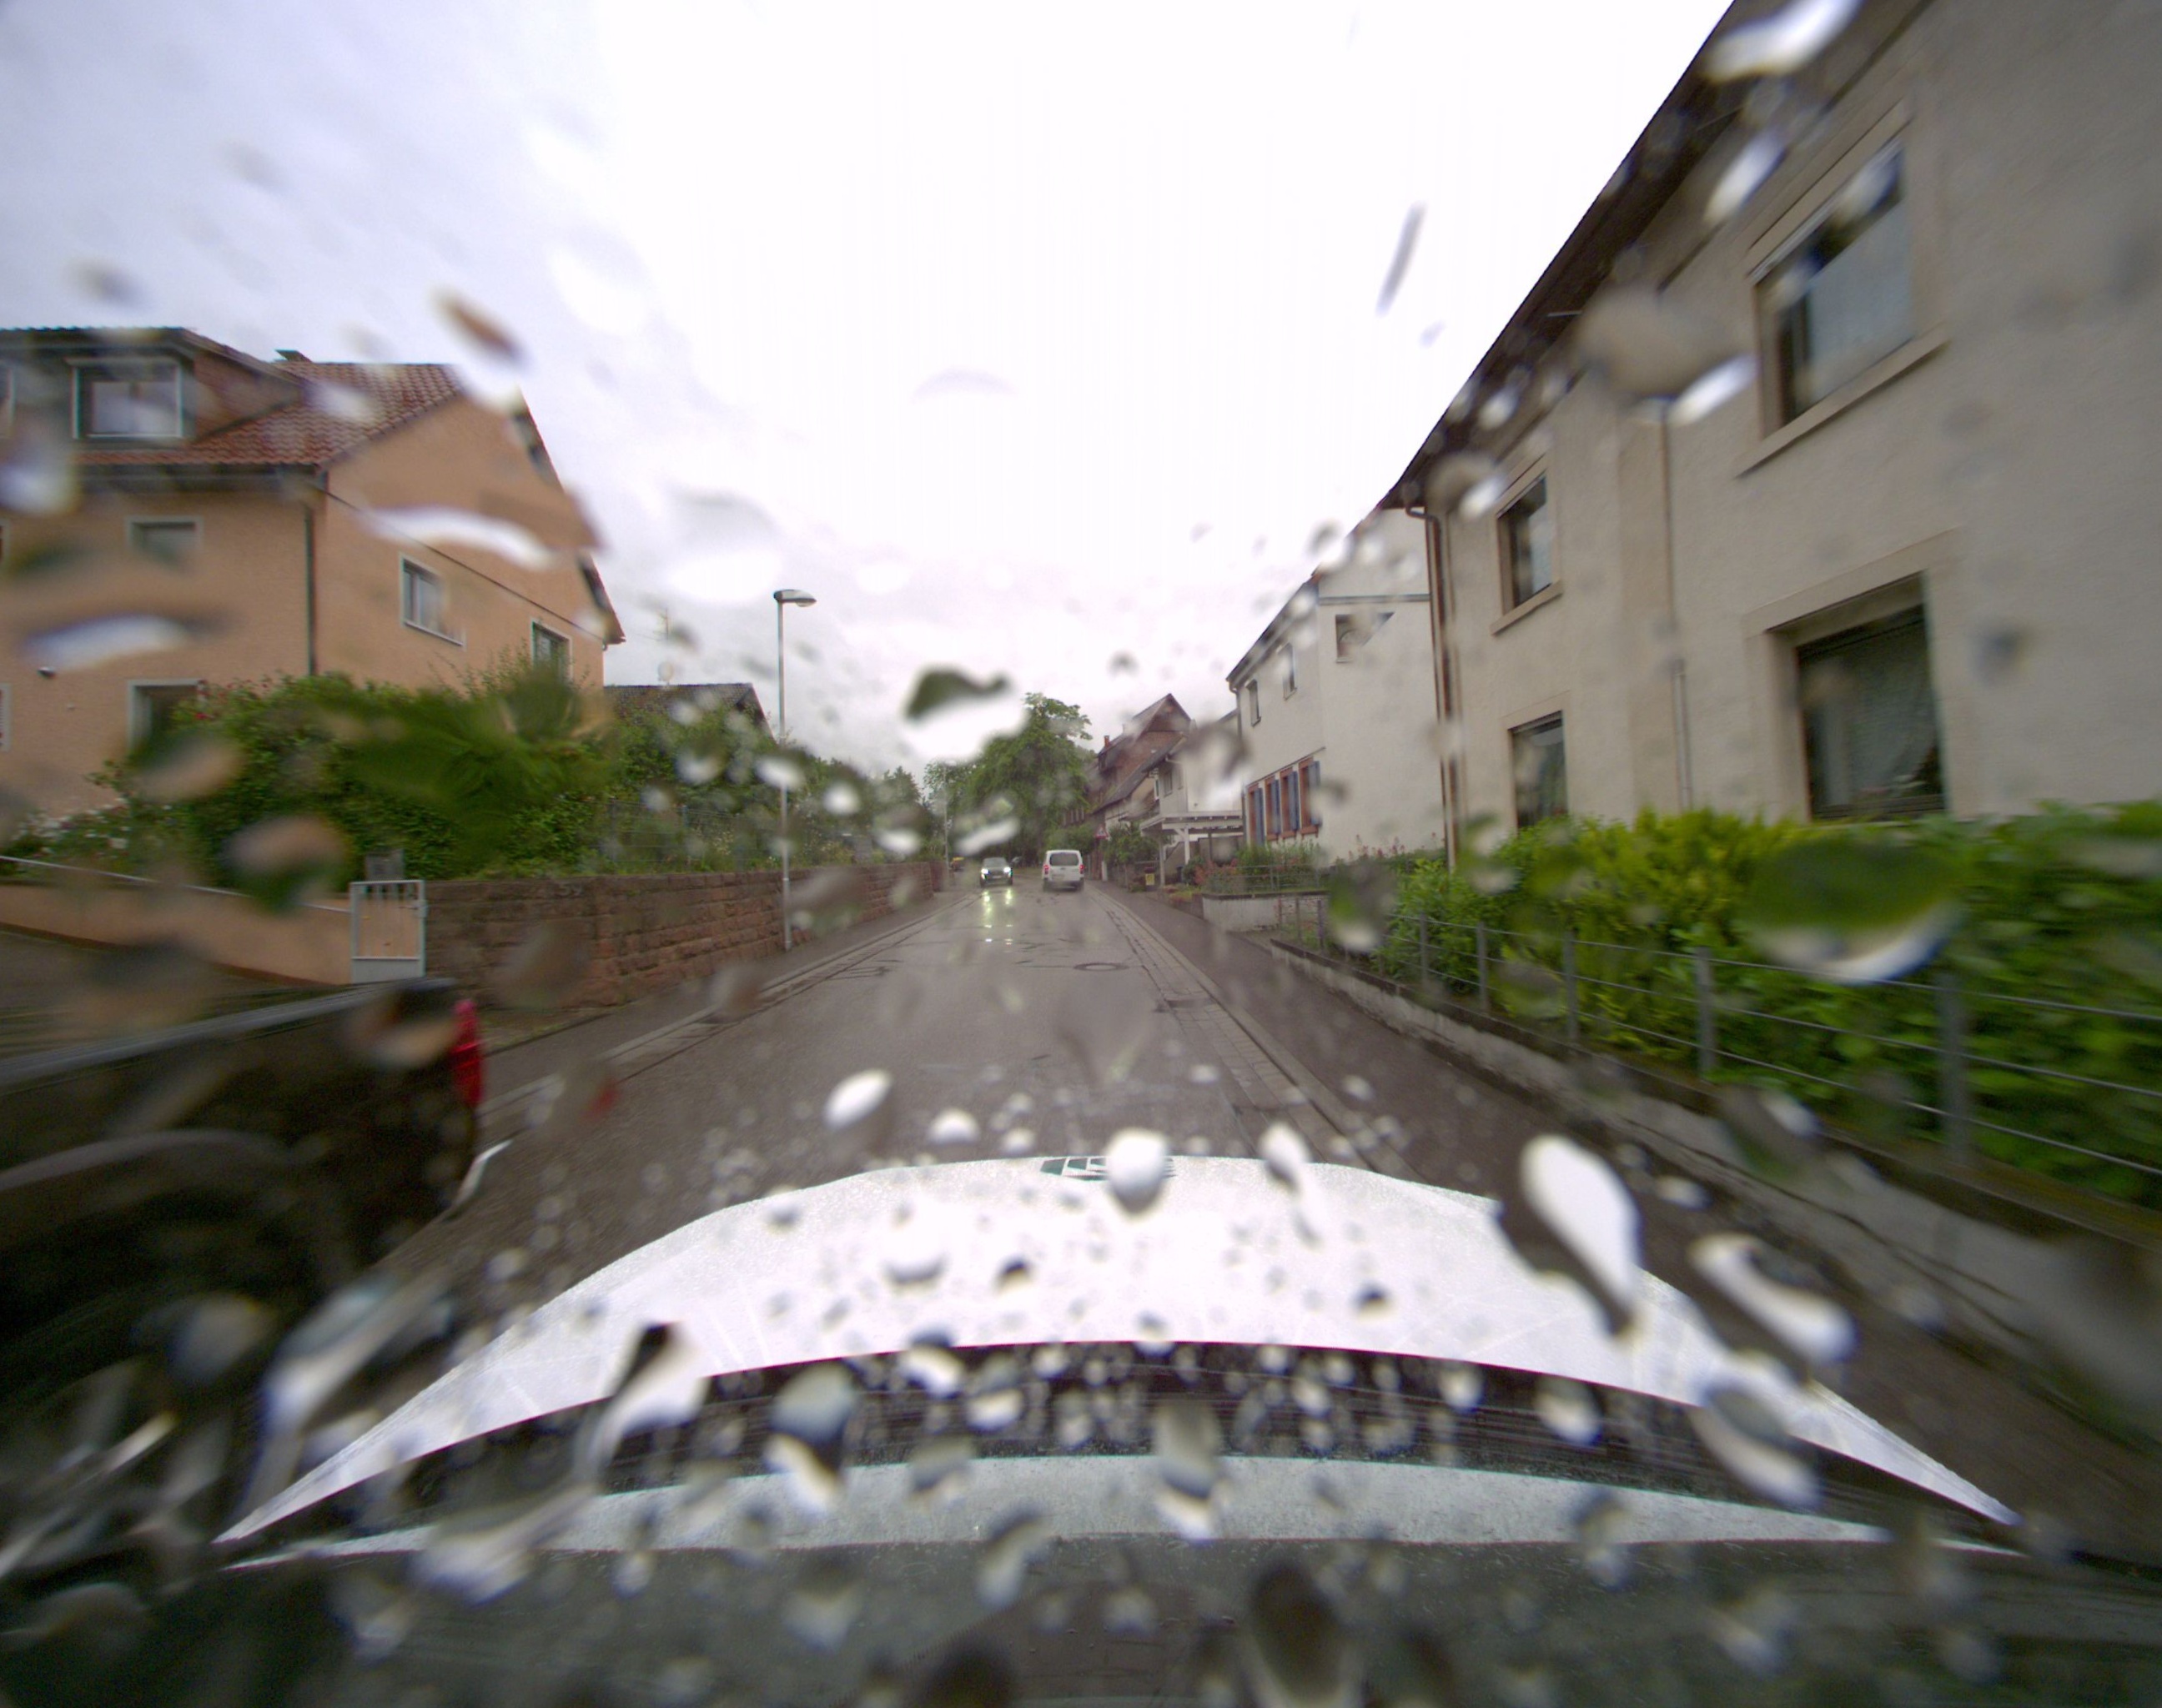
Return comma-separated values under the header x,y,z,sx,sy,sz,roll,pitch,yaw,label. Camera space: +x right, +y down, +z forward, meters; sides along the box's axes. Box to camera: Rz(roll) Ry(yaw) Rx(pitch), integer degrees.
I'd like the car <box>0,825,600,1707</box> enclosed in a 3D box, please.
x,y,z,sx,sy,sz,roll,pitch,yaw,label
-2.763,0.823,0.466,1.828,1.673,5.196,-3,-1,0,car

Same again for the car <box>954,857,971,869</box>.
x,y,z,sx,sy,sz,roll,pitch,yaw,label
-13.837,1.031,95.126,1.709,1.377,3.984,0,-1,-11,car

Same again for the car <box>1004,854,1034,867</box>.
x,y,z,sx,sy,sz,roll,pitch,yaw,label
-7.618,0.793,100.129,1.601,1.551,3.636,-3,-1,40,car

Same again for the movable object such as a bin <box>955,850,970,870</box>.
x,y,z,sx,sy,sz,roll,pitch,yaw,label
-15.548,0.815,106.659,1.762,2.548,4.222,0,-1,-11,movable object such as a bin

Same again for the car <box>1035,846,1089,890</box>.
x,y,z,sx,sy,sz,roll,pitch,yaw,label
-0.919,0.621,36.944,1.896,1.807,3.988,-2,0,-9,car

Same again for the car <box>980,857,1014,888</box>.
x,y,z,sx,sy,sz,roll,pitch,yaw,label
-4.720,1.003,45.541,1.698,1.546,3.841,-4,0,-7,car
